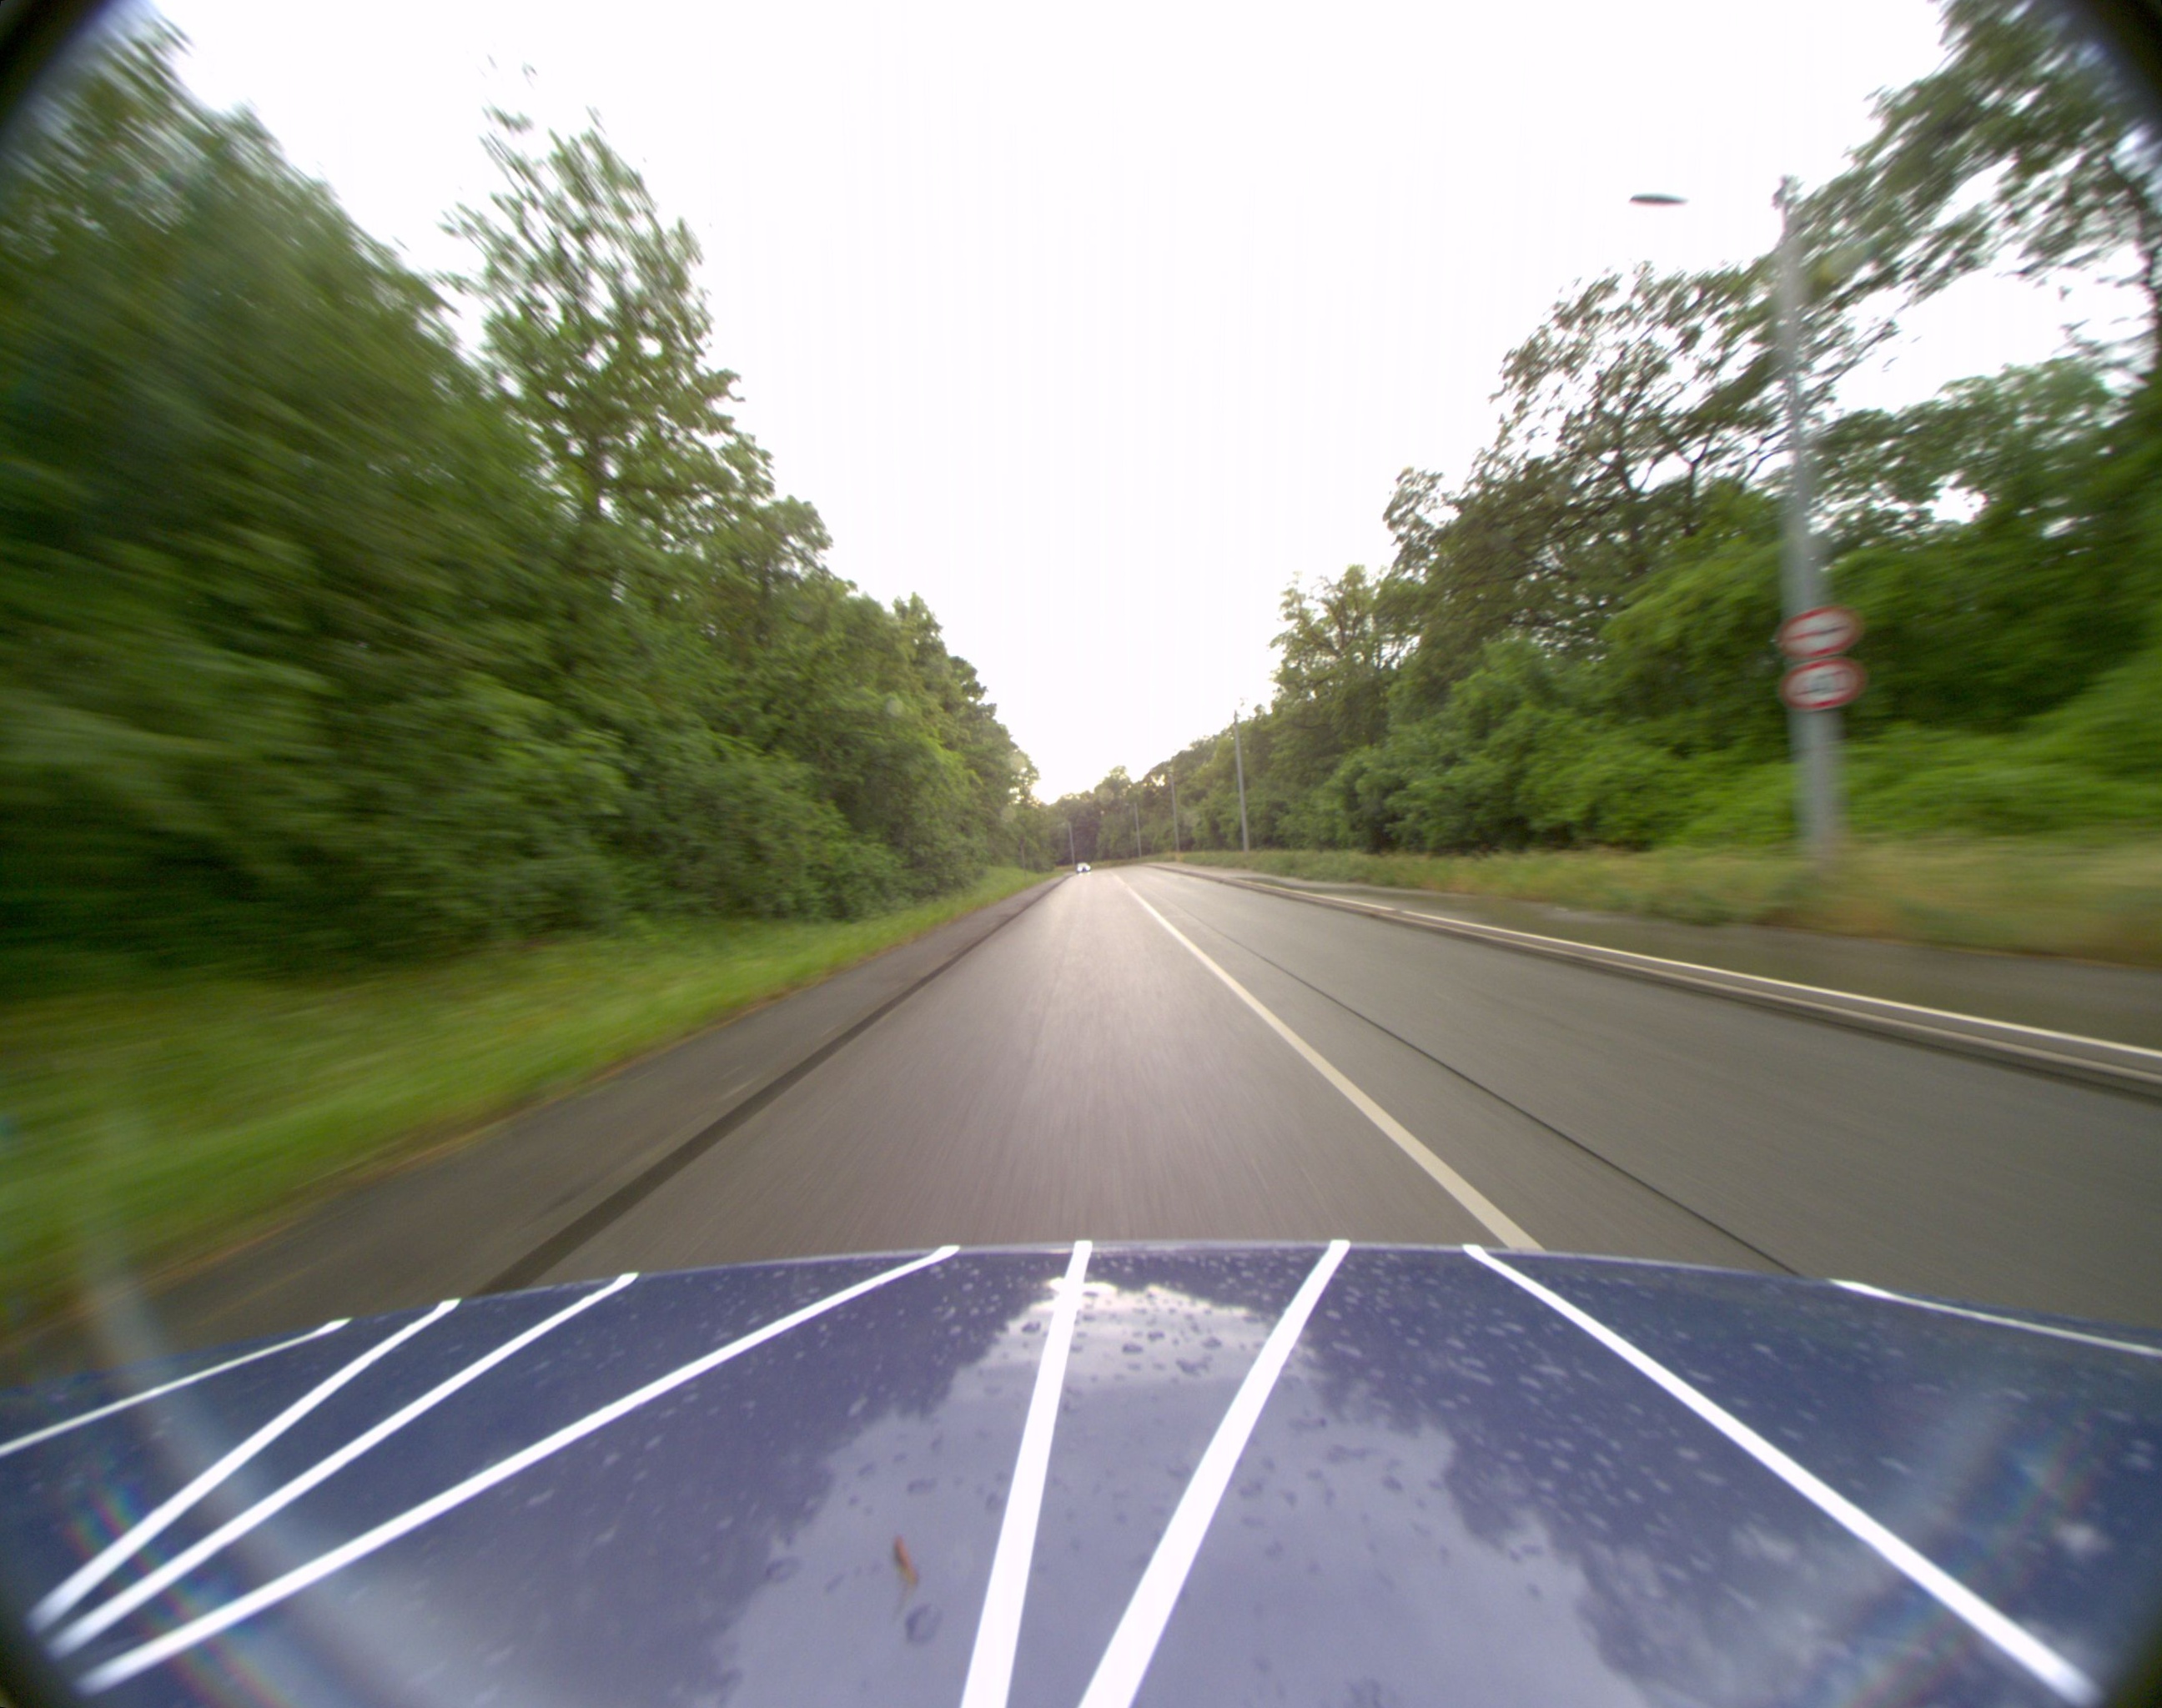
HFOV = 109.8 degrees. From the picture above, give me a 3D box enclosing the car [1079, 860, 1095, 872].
[{"bbox_3d":[0.854,1.725,109.058,1.782,1.477,3.997,-3,0,-7],"label":"car"}]
